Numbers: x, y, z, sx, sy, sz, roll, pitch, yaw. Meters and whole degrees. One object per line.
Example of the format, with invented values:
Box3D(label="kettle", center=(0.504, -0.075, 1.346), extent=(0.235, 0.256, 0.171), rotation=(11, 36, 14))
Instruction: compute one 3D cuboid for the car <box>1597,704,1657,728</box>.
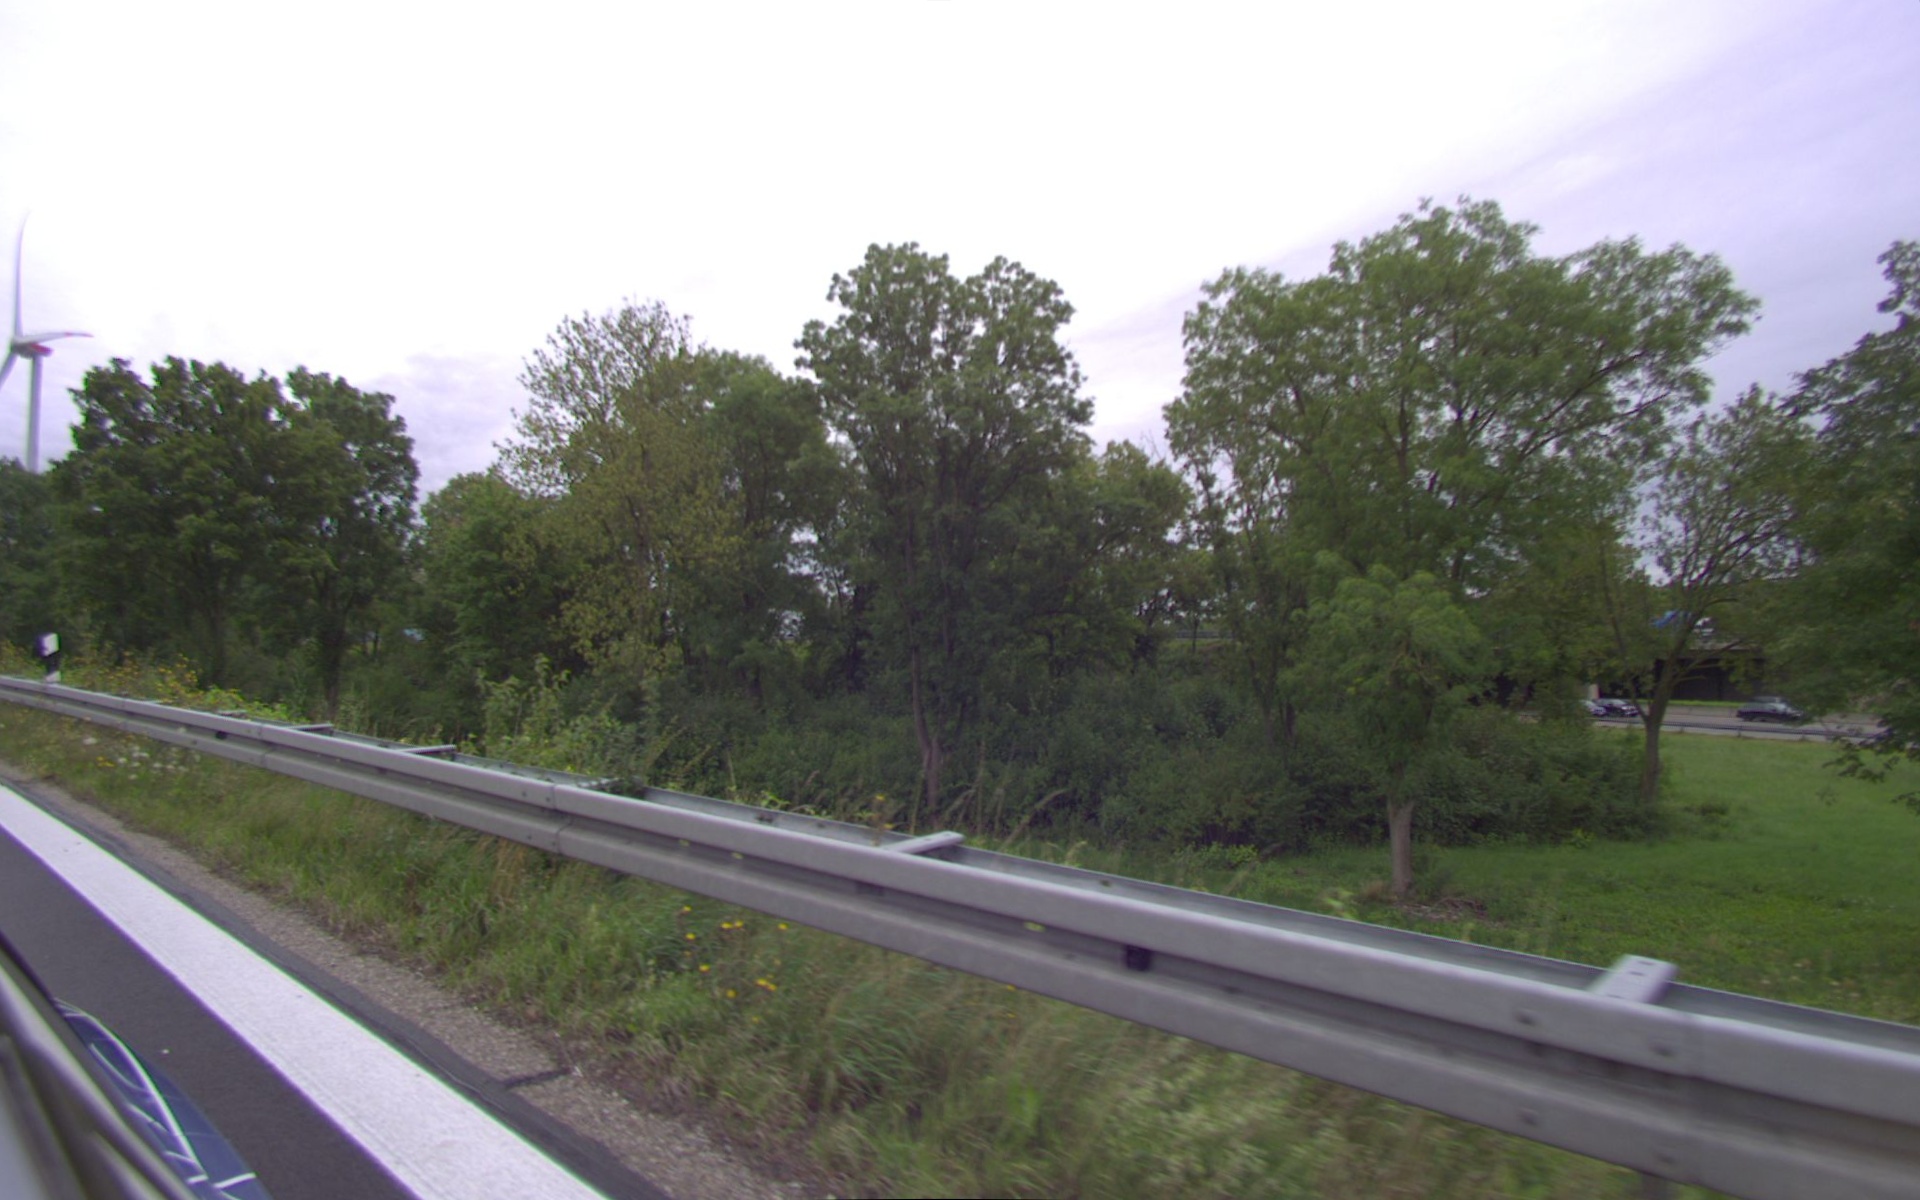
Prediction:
Box3D(label="car", center=(56.602, 9.806, 85.910), extent=(1.967, 1.785, 4.009), rotation=(3, -5, -11))
